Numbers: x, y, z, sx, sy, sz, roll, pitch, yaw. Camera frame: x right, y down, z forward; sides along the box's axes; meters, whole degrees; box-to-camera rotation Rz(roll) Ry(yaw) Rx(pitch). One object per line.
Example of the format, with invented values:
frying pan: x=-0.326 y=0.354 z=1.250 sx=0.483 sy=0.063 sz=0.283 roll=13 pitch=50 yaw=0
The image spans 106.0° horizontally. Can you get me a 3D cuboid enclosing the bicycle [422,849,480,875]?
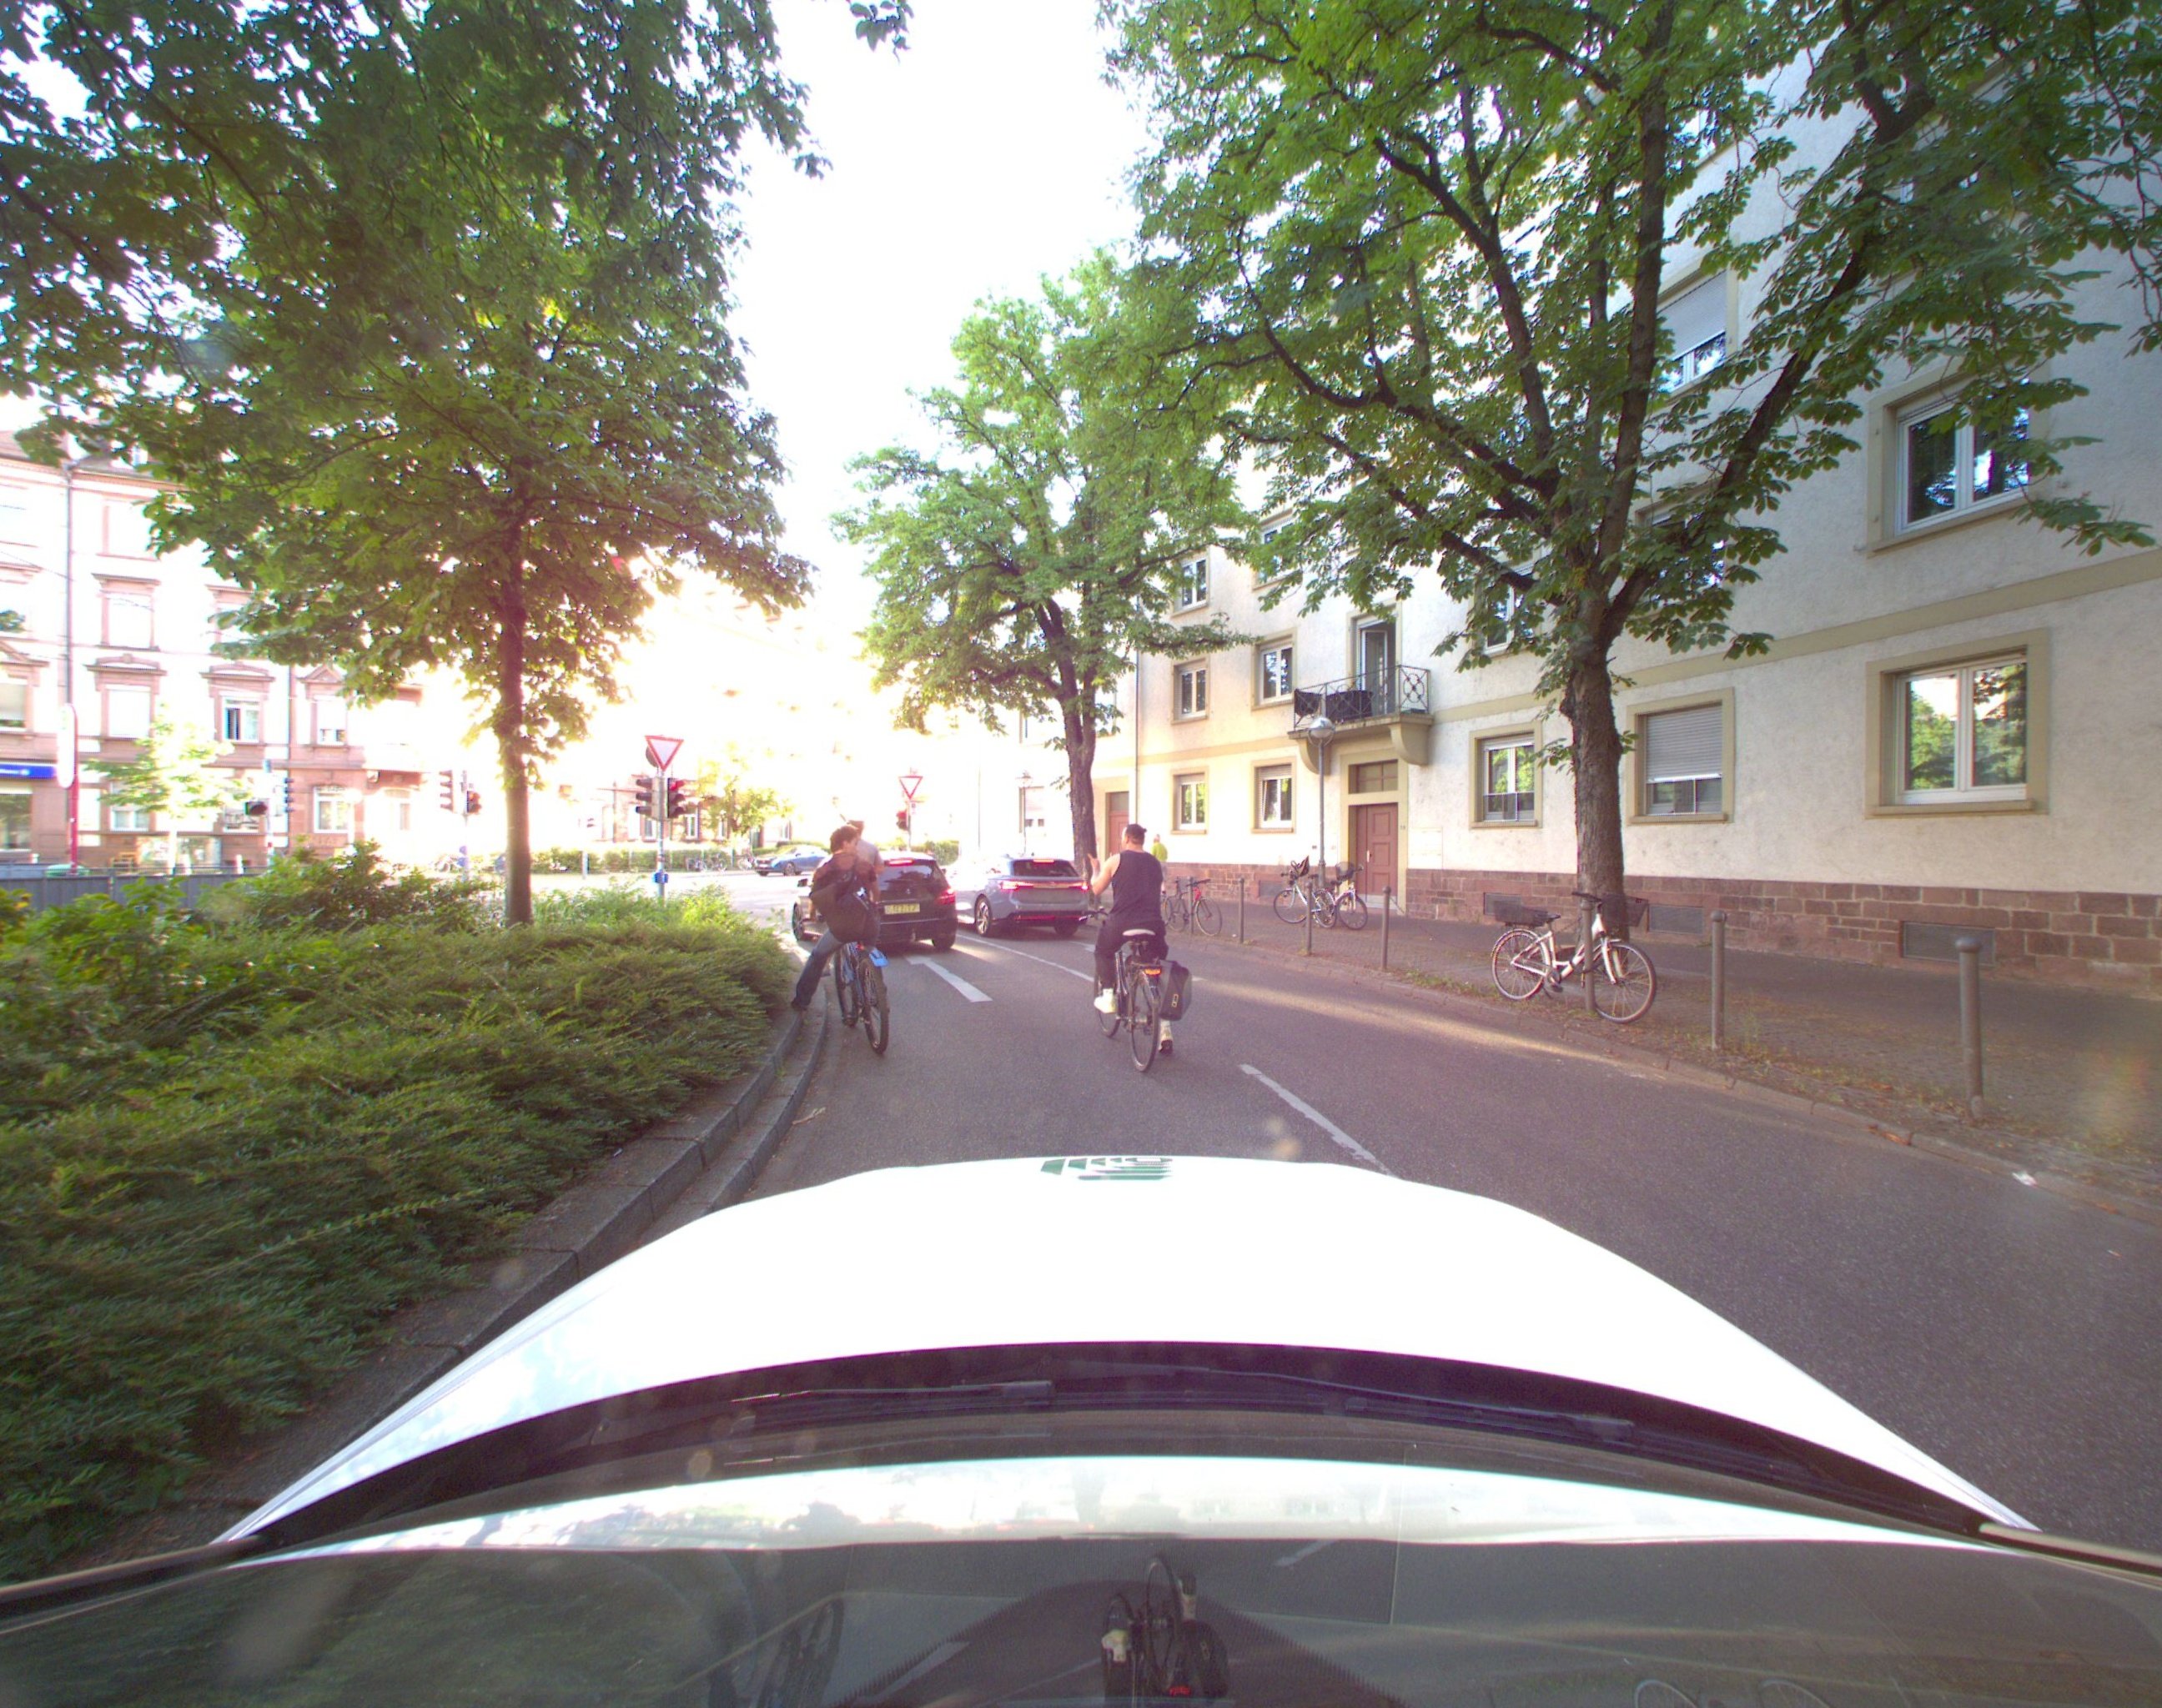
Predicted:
bicycle: x=-28.124 y=0.372 z=36.383 sx=1.975 sy=1.107 sz=0.438 roll=2 pitch=-1 yaw=-38

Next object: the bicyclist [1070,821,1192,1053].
bicyclist: x=0.364 y=0.586 z=6.387 sx=0.687 sy=1.656 sz=0.985 roll=-1 pitch=0 yaw=-13

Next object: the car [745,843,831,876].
car: x=-15.641 y=0.259 z=43.755 sx=1.926 sy=1.650 sz=4.432 roll=0 pitch=0 yaw=19

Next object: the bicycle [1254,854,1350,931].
bicycle: x=4.006 y=0.651 z=14.916 sx=0.719 sy=1.277 sz=1.954 roll=-1 pitch=1 yaw=-18

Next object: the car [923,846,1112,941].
car: x=-1.414 y=0.673 z=15.953 sx=1.982 sy=1.585 sz=4.433 roll=2 pitch=-1 yaw=-29

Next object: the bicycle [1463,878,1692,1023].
bicycle: x=4.534 y=0.817 z=7.635 sx=0.514 sy=1.095 sz=1.962 roll=-2 pitch=1 yaw=-18

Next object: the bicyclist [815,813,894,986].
bicyclist: x=-2.680 y=0.504 z=9.580 sx=0.797 sy=1.913 sz=0.938 roll=1 pitch=0 yaw=-21

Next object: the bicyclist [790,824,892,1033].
bicyclist: x=-1.928 y=0.556 z=6.665 sx=0.707 sy=1.573 sz=0.953 roll=0 pitch=0 yaw=-11

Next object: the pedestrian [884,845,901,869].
pedestrian: x=-13.476 y=0.235 z=58.253 sx=0.703 sy=1.664 sz=0.904 roll=4 pitch=2 yaw=36

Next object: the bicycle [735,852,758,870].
bicycle: x=-19.765 y=0.434 z=48.143 sx=0.438 sy=1.038 sz=1.240 roll=1 pitch=1 yaw=24

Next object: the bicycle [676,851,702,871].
bicycle: x=-21.397 y=0.380 z=44.477 sx=0.438 sy=1.107 sz=1.240 roll=1 pitch=0 yaw=25

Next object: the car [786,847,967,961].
car: x=-3.493 y=0.690 z=13.414 sx=1.802 sy=1.542 sz=3.821 roll=-2 pitch=1 yaw=-32

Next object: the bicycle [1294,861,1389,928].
bicycle: x=4.717 y=0.704 z=14.915 sx=0.669 sy=1.107 sz=1.955 roll=1 pitch=0 yaw=-17

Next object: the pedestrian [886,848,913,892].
pedestrian: x=-6.902 y=0.607 z=30.948 sx=0.904 sy=1.635 sz=0.721 roll=2 pitch=1 yaw=-19

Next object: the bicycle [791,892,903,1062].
bicycle: x=-1.897 y=0.930 z=6.852 sx=0.717 sy=1.107 sz=1.959 roll=1 pitch=0 yaw=-11

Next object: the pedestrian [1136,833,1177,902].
pedestrian: x=1.953 y=0.329 z=21.034 sx=0.646 sy=1.727 sz=0.881 roll=-3 pitch=2 yaw=-25

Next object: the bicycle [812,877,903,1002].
bicycle: x=-2.635 y=0.900 z=9.441 sx=0.813 sy=1.184 sz=2.211 roll=0 pitch=0 yaw=-21

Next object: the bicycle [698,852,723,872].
bicycle: x=-20.796 y=0.420 z=45.732 sx=0.438 sy=1.107 sz=1.241 roll=1 pitch=1 yaw=25

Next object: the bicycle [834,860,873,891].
bicycle: x=-8.561 y=0.799 z=30.750 sx=0.530 sy=1.107 sz=1.974 roll=0 pitch=0 yaw=13

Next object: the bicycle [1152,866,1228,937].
bicycle: x=1.908 y=0.814 z=14.488 sx=0.528 sy=1.107 sz=1.728 roll=-3 pitch=2 yaw=-21

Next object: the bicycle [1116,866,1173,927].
bicycle: x=1.234 y=0.814 z=16.098 sx=0.482 sy=1.063 sz=1.625 roll=-3 pitch=2 yaw=-20

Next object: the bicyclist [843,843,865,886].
bicyclist: x=-8.559 y=0.397 z=30.781 sx=0.525 sy=1.598 sz=0.677 roll=0 pitch=0 yaw=13
